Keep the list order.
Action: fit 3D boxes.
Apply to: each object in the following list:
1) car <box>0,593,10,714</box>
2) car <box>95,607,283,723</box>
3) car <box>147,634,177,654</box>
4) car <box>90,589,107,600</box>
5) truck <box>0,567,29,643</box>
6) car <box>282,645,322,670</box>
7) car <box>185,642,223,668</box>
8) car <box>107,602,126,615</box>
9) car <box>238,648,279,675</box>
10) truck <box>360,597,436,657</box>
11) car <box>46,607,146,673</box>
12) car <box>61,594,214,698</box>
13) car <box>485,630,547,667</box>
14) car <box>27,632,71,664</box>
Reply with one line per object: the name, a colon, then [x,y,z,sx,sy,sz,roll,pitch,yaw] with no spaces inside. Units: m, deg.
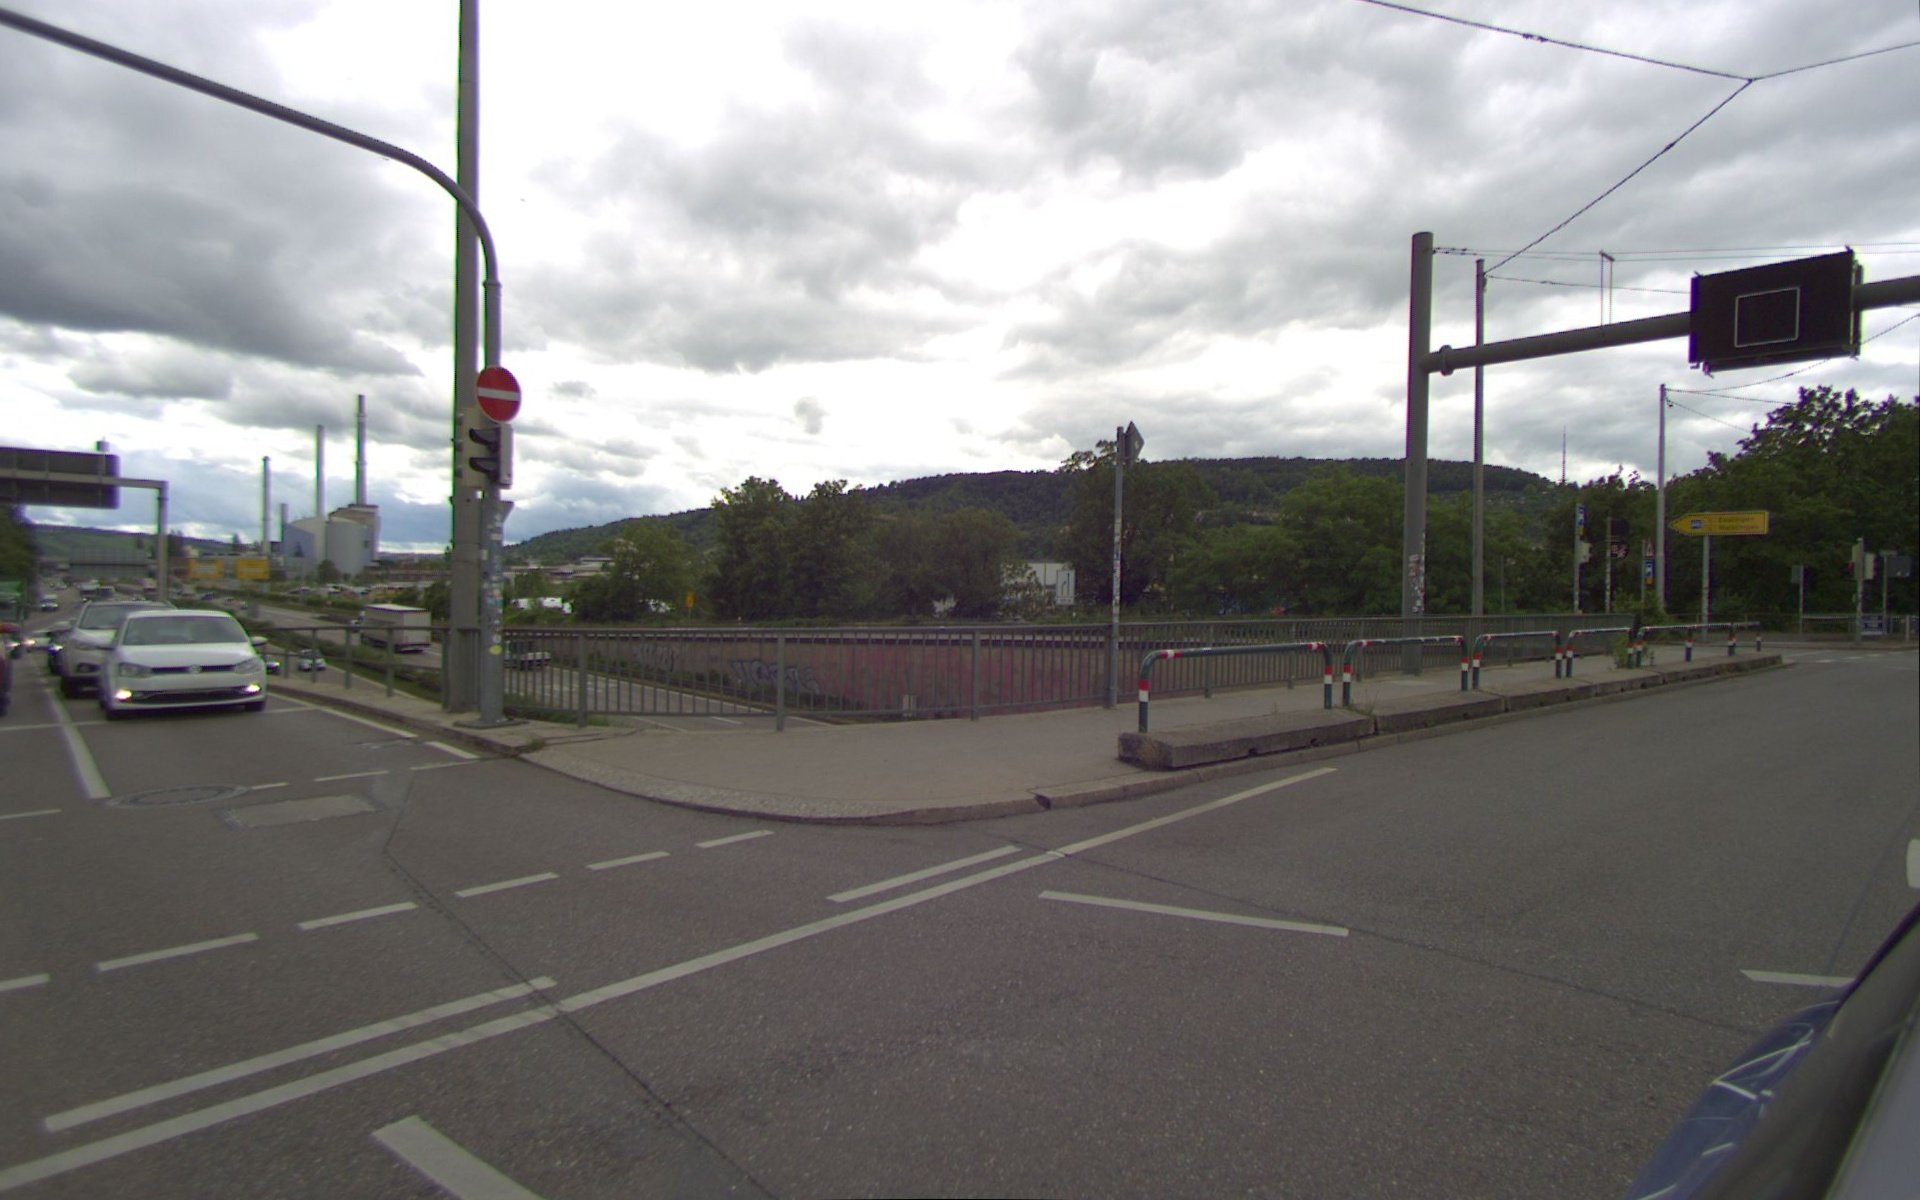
car: [-14.241,0.725,13.874,1.667,1.559,4.000,-1,0,-42]
car: [-10.735,0.795,13.984,1.760,1.330,3.757,-1,0,-42]
car: [-75.220,4.131,95.381,1.966,1.728,4.071,-1,0,-42]
car: [-145.606,-0.919,171.004,1.966,1.728,4.071,-1,0,-42]
truck: [-48.482,0.102,50.415,2.733,3.554,9.245,1,1,-41]
car: [-51.024,4.433,78.438,1.966,1.728,4.071,-1,0,-42]
car: [-57.636,4.179,77.128,1.966,1.728,4.071,-1,0,-42]
car: [-121.692,1.214,146.000,1.966,1.728,4.071,-1,0,-42]
car: [-52.061,4.529,75.093,1.966,1.728,4.071,-1,0,-42]
truck: [-54.716,2.467,98.266,3.526,4.541,13.163,1,3,-42]
car: [-23.807,1.034,27.896,1.966,1.638,3.992,-1,0,-41]
car: [-15.023,0.756,18.460,1.965,1.640,4.335,-1,0,-41]
car: [-35.793,3.854,81.398,2.868,2.531,7.272,-1,1,-38]
car: [-60.947,3.160,67.671,3.762,1.689,1.968,5,3,45]
